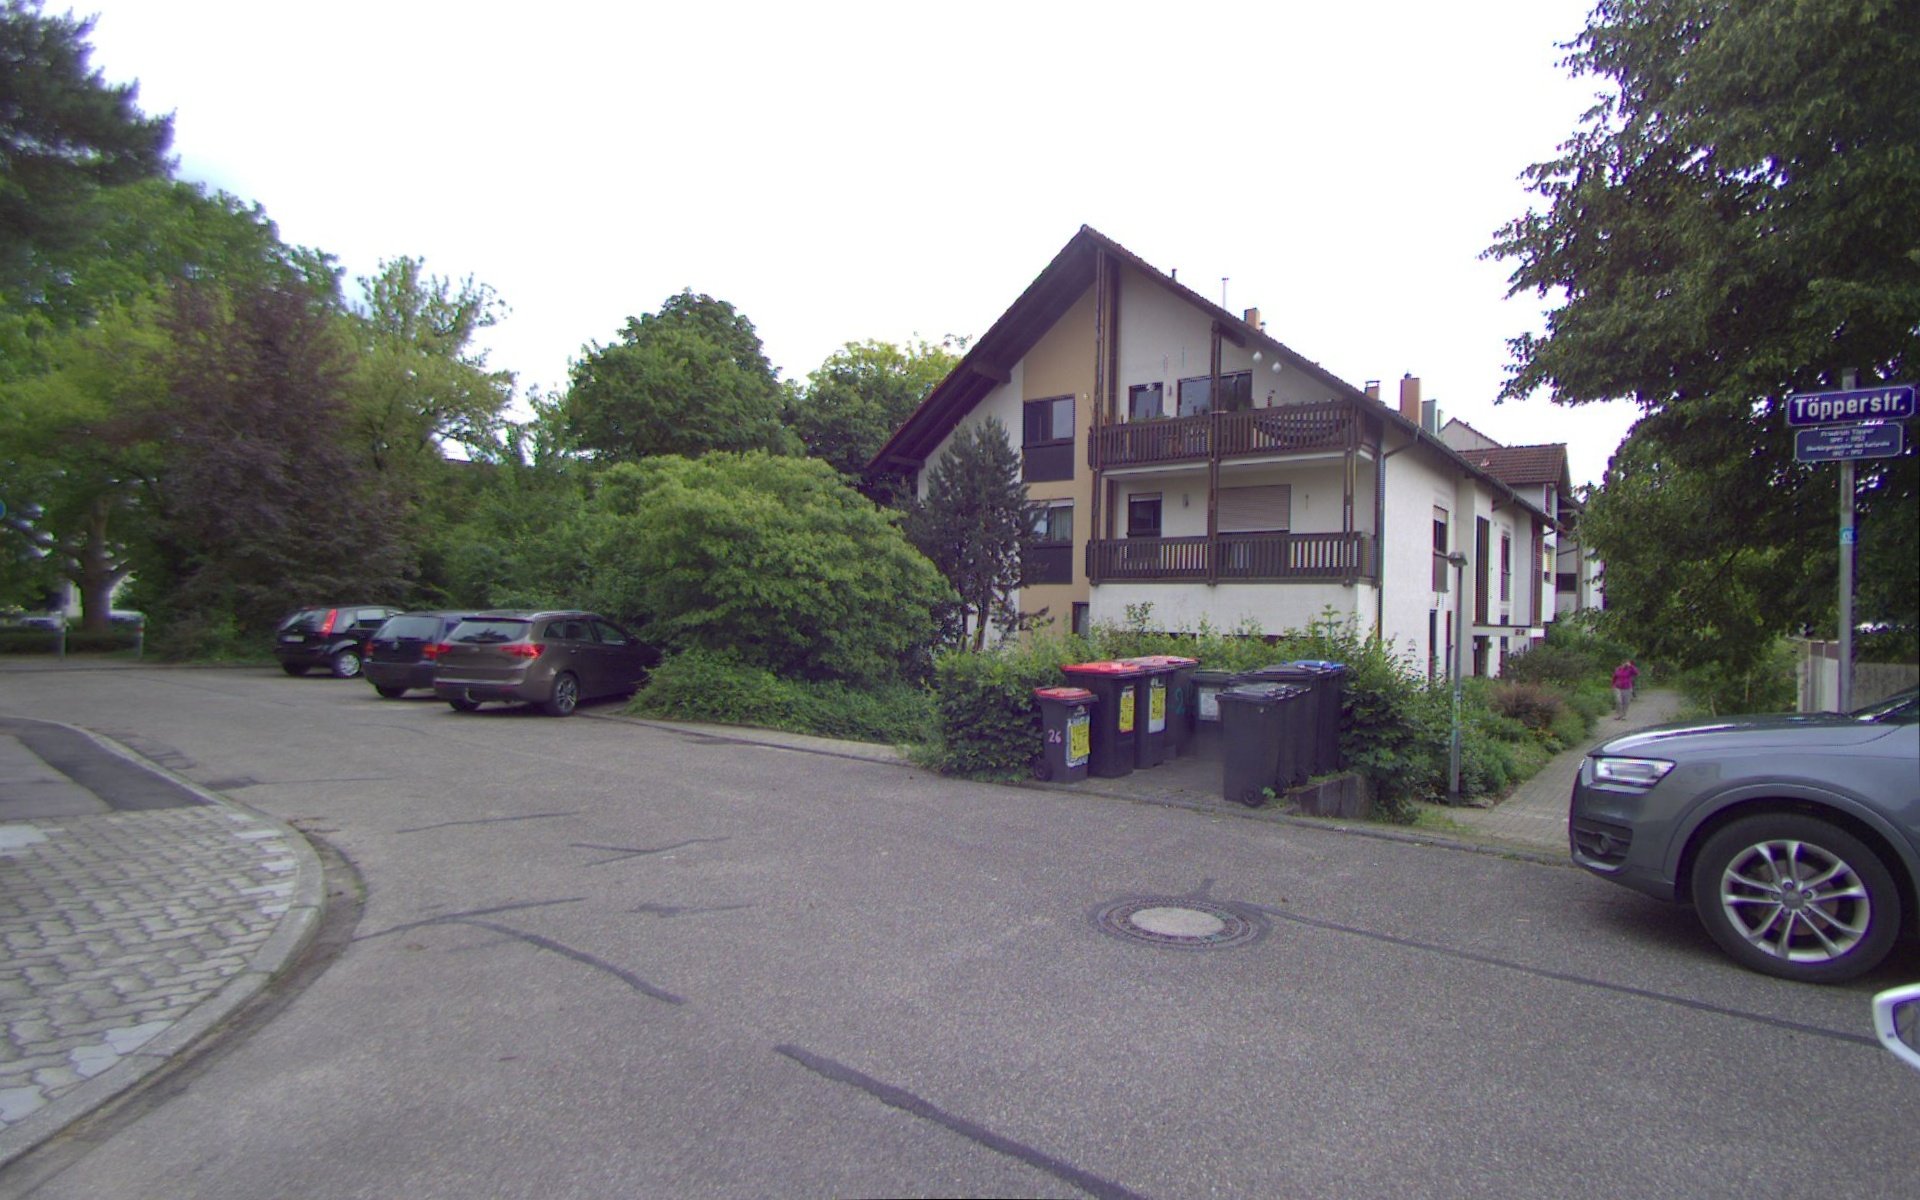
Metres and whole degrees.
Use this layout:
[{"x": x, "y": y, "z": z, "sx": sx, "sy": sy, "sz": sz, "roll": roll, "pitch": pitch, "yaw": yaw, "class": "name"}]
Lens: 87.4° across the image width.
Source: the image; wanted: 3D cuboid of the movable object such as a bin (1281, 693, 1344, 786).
[{"x": 3.376, "y": 1.319, "z": 9.618, "sx": 0.453, "sy": 0.808, "sz": 0.378, "roll": 2, "pitch": 0, "yaw": 37, "class": "movable object such as a bin"}]

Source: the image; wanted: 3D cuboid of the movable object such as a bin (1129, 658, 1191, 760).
[{"x": 2.115, "y": 1.140, "z": 10.637, "sx": 0.530, "sy": 1.007, "sz": 0.336, "roll": 2, "pitch": 0, "yaw": 35, "class": "movable object such as a bin"}]

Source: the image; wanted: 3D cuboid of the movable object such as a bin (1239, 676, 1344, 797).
[{"x": 2.976, "y": 1.198, "z": 9.009, "sx": 0.724, "sy": 0.966, "sz": 0.582, "roll": 2, "pitch": 0, "yaw": 37, "class": "movable object such as a bin"}]

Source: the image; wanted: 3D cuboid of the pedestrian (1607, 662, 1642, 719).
[{"x": 18.735, "y": 2.544, "z": 28.314, "sx": 0.804, "sy": 1.537, "sz": 0.437, "roll": 0, "pitch": -1, "yaw": 35, "class": "pedestrian"}]

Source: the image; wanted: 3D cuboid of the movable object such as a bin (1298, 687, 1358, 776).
[{"x": 3.650, "y": 1.288, "z": 9.957, "sx": 0.453, "sy": 0.808, "sz": 0.378, "roll": 2, "pitch": 0, "yaw": 37, "class": "movable object such as a bin"}]

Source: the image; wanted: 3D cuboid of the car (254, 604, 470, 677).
[{"x": -12.655, "y": 0.828, "z": 21.575, "sx": 1.666, "sy": 1.393, "sz": 4.003, "roll": 1, "pitch": -1, "yaw": 12, "class": "car"}]

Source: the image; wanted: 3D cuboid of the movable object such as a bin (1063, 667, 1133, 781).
[{"x": 1.324, "y": 1.170, "z": 9.614, "sx": 0.530, "sy": 1.007, "sz": 0.378, "roll": 2, "pitch": 0, "yaw": 35, "class": "movable object such as a bin"}]

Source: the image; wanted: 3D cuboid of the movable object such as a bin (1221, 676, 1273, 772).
[{"x": 2.892, "y": 1.234, "z": 10.111, "sx": 0.381, "sy": 0.901, "sz": 0.378, "roll": 2, "pitch": 0, "yaw": 35, "class": "movable object such as a bin"}]

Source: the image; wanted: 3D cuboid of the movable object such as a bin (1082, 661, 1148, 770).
[{"x": 1.529, "y": 1.128, "z": 9.924, "sx": 0.530, "sy": 1.007, "sz": 0.336, "roll": 2, "pitch": 0, "yaw": 35, "class": "movable object such as a bin"}]

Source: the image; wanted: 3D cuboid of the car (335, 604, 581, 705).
[{"x": -8.540, "y": 0.875, "z": 17.524, "sx": 1.666, "sy": 1.510, "sz": 4.003, "roll": 1, "pitch": -1, "yaw": 12, "class": "car"}]

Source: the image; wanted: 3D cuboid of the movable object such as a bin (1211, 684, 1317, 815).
[{"x": 2.559, "y": 1.226, "z": 8.446, "sx": 0.630, "sy": 0.966, "sz": 0.720, "roll": 2, "pitch": 0, "yaw": 36, "class": "movable object such as a bin"}]

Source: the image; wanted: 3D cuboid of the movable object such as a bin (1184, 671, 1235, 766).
[{"x": 2.570, "y": 1.211, "z": 10.354, "sx": 0.381, "sy": 0.913, "sz": 0.378, "roll": 2, "pitch": 0, "yaw": 35, "class": "movable object such as a bin"}]

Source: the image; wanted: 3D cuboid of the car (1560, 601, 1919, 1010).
[{"x": 4.920, "y": 0.841, "z": 3.994, "sx": 4.183, "sy": 1.551, "sz": 1.741, "roll": 1, "pitch": -3, "yaw": 37, "class": "car"}]

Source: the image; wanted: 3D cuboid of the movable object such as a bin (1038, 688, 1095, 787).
[{"x": 0.992, "y": 1.271, "z": 9.343, "sx": 0.381, "sy": 0.848, "sz": 0.378, "roll": 2, "pitch": 0, "yaw": 35, "class": "movable object such as a bin"}]

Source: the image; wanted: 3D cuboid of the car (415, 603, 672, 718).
[{"x": -6.223, "y": 0.851, "z": 15.559, "sx": 1.666, "sy": 1.510, "sz": 4.003, "roll": 1, "pitch": -1, "yaw": 12, "class": "car"}]

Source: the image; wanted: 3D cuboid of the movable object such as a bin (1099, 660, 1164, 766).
[{"x": 1.746, "y": 1.136, "z": 10.221, "sx": 0.530, "sy": 1.007, "sz": 0.336, "roll": 2, "pitch": 0, "yaw": 35, "class": "movable object such as a bin"}]
